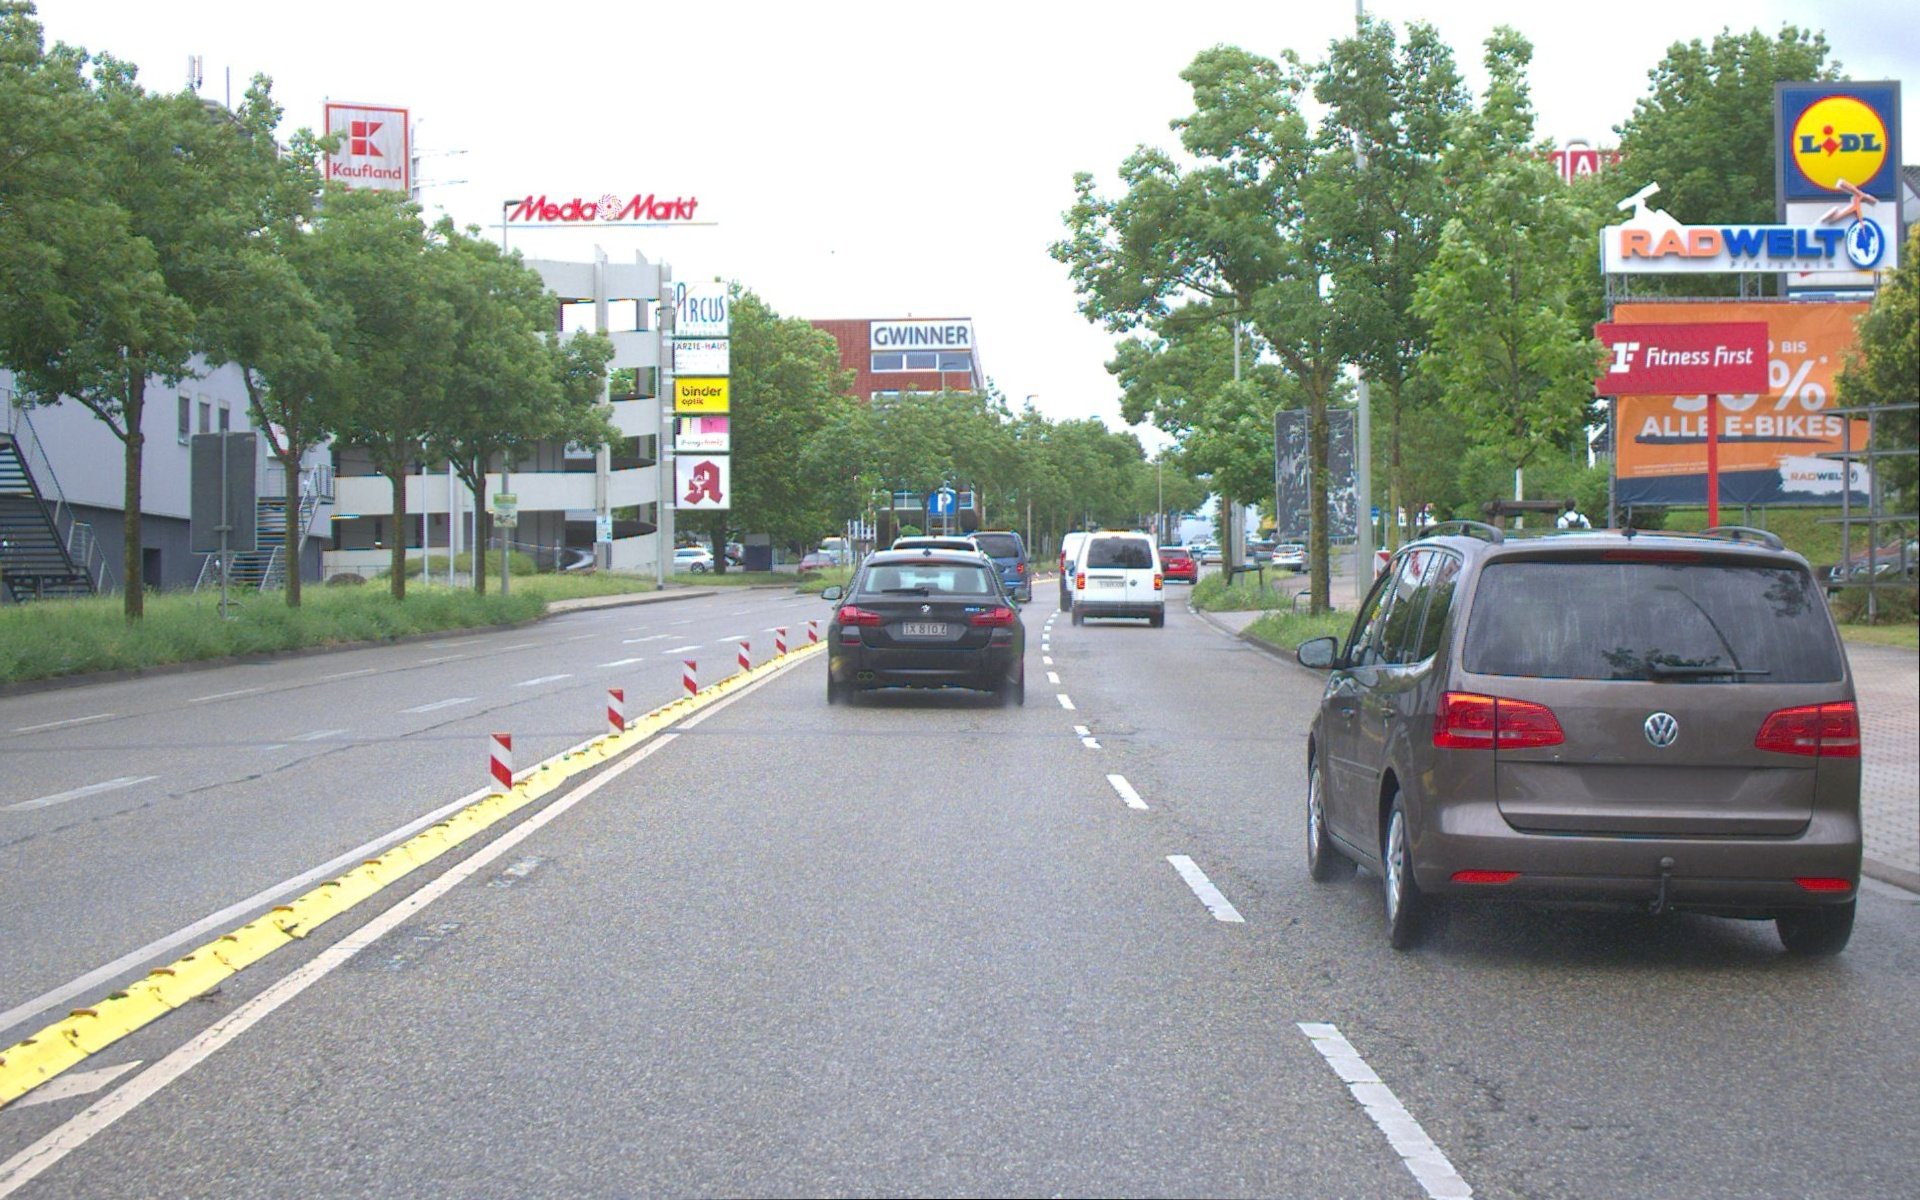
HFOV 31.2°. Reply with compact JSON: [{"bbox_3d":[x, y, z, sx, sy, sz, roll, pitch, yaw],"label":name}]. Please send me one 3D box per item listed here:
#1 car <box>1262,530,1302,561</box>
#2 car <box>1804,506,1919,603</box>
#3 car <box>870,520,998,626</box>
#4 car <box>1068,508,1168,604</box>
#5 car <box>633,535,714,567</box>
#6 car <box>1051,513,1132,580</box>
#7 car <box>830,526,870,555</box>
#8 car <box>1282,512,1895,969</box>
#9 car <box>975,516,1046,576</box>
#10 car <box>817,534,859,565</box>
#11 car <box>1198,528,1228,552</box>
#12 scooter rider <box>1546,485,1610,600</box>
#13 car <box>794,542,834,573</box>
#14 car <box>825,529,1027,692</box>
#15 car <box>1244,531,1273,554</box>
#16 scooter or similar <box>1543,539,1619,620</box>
[{"bbox_3d":[16.041,-2.708,171.432,1.794,1.505,4.000,2,1,3],"label":"car"},{"bbox_3d":[15.647,-0.750,54.354,4.089,1.433,1.798,-1,3,-12],"label":"car"},{"bbox_3d":[-0.354,-0.417,52.244,1.794,1.505,4.000,2,1,1],"label":"car"},{"bbox_3d":[3.048,-0.864,66.356,1.827,1.753,4.000,2,1,3],"label":"car"},{"bbox_3d":[-16.741,-2.867,200.954,4.598,1.740,1.967,1,2,-1],"label":"car"},{"bbox_3d":[3.087,-1.260,81.314,1.794,1.505,4.000,2,1,1],"label":"car"},{"bbox_3d":[-7.355,-3.990,230.850,2.138,1.767,4.608,1,2,5],"label":"car"},{"bbox_3d":[2.417,0.460,14.242,1.685,1.575,4.219,1,1,-1],"label":"car"},{"bbox_3d":[1.332,-1.402,90.620,1.794,1.505,4.000,2,1,1],"label":"car"},{"bbox_3d":[-7.448,-3.093,209.937,2.039,1.756,4.945,1,2,4],"label":"car"},{"bbox_3d":[16.695,-3.968,227.061,1.794,1.505,4.000,2,1,3],"label":"car"},{"bbox_3d":[9.982,-0.936,55.566,0.694,1.814,0.858,-3,1,-11],"label":"scooter rider"},{"bbox_3d":[-8.284,-2.442,195.535,1.933,1.603,4.711,1,2,2],"label":"car"},{"bbox_3d":[-0.292,0.055,33.216,1.827,1.463,4.000,0,1,0],"label":"car"},{"bbox_3d":[20.530,-3.955,236.317,1.794,1.505,4.000,2,1,3],"label":"car"},{"bbox_3d":[10.019,-0.339,55.516,0.694,1.259,1.401,-3,1,-11],"label":"scooter or similar"}]
